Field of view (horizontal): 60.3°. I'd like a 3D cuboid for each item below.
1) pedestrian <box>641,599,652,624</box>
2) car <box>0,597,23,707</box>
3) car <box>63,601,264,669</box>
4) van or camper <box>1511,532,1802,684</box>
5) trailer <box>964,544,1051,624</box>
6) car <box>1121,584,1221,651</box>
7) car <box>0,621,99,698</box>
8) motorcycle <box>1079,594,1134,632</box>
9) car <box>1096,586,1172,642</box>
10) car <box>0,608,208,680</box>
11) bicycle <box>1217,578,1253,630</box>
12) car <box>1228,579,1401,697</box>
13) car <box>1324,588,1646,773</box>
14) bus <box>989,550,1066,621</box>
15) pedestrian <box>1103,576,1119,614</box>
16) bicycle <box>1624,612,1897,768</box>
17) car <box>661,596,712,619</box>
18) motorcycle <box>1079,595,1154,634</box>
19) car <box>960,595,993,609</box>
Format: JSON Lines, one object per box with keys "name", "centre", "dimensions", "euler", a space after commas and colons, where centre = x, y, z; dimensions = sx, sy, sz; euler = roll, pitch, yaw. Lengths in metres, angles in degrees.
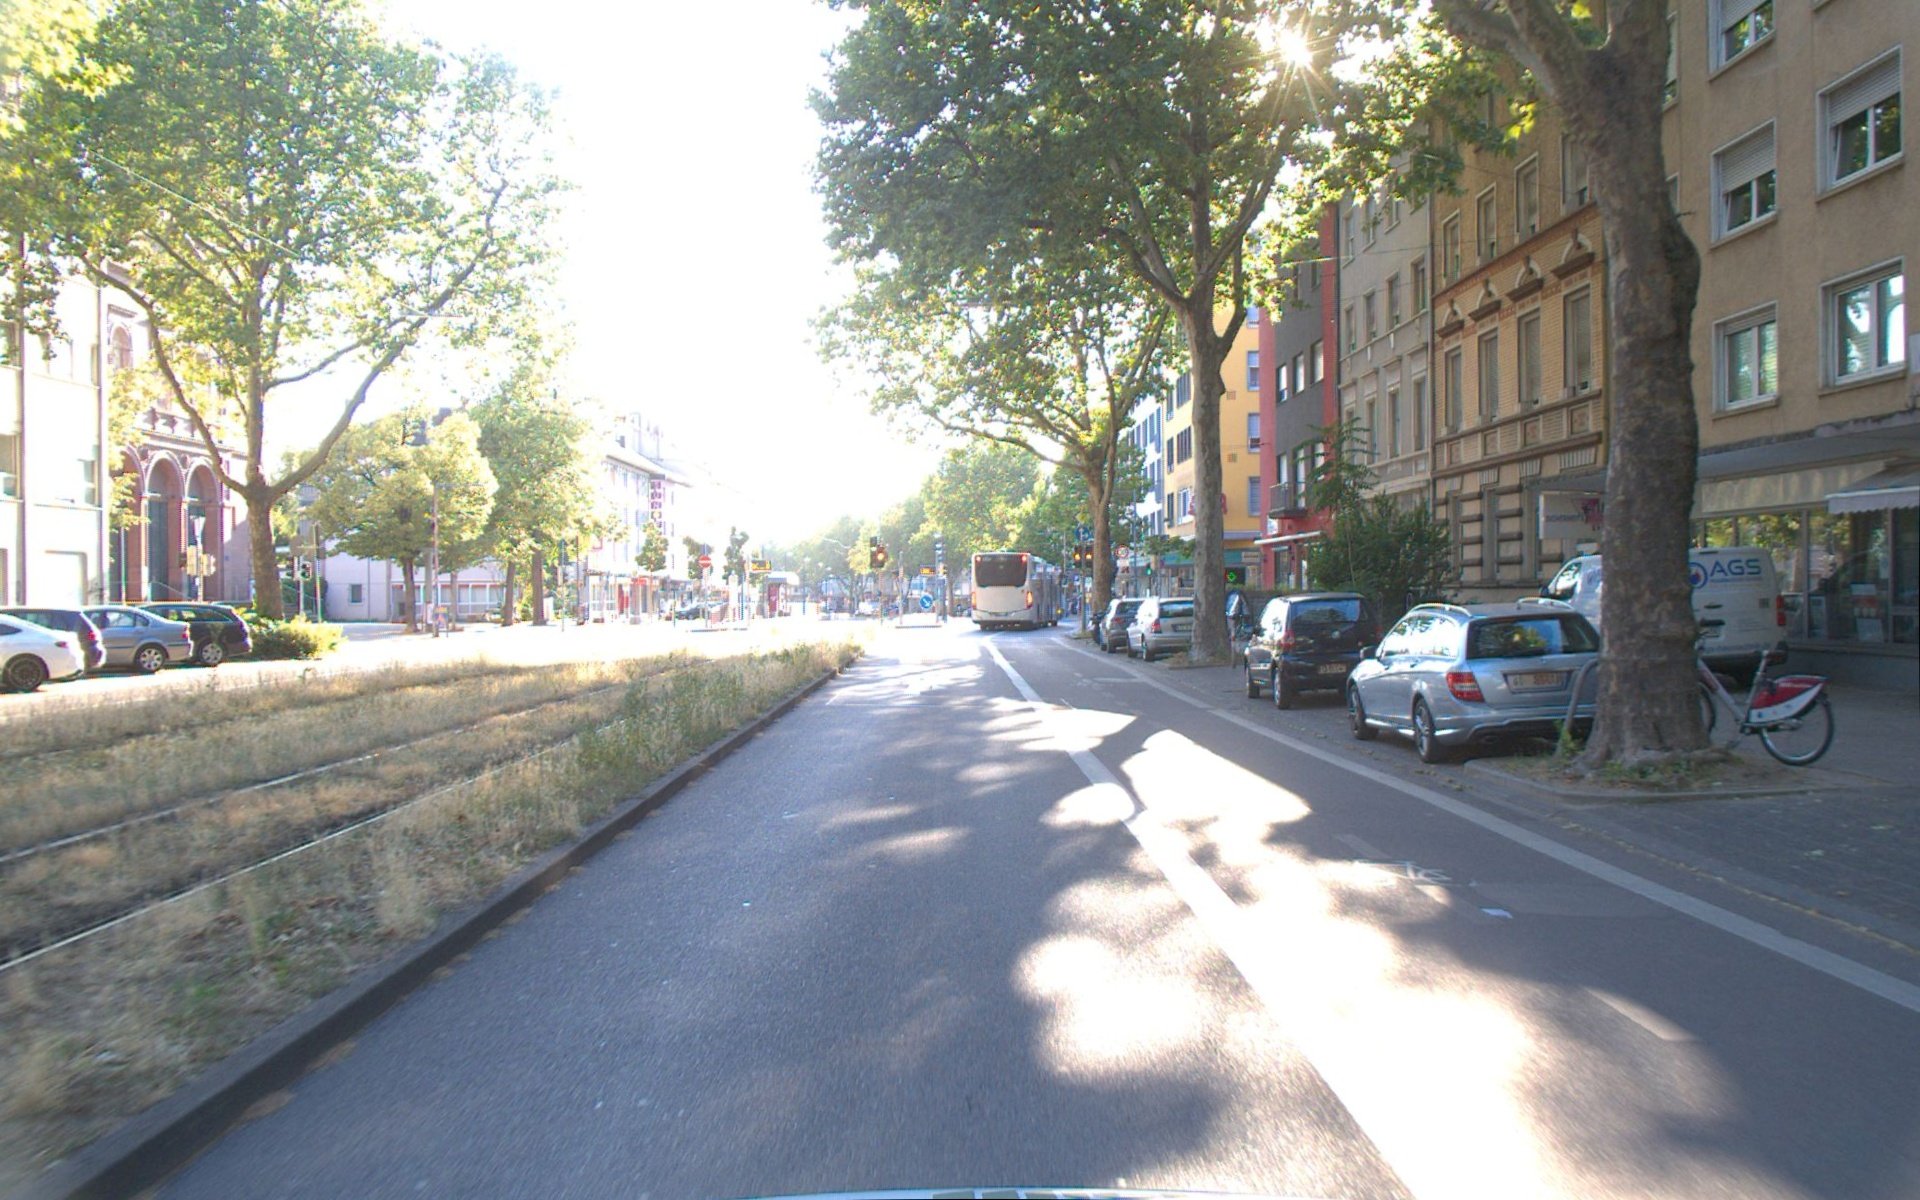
{"name": "pedestrian", "centre": [-26.273, 0.996, 138.718], "dimensions": [0.694, 2.049, 0.948], "euler": [2, -1, -1]}
{"name": "car", "centre": [-18.025, 0.969, 27.254], "dimensions": [4.298, 1.817, 1.977], "euler": [-3, 0, -27]}
{"name": "car", "centre": [-18.933, 0.816, 39.427], "dimensions": [3.968, 1.505, 1.789], "euler": [1, 0, -43]}
{"name": "van or camper", "centre": [10.056, 0.074, 24.424], "dimensions": [1.902, 1.956, 5.390], "euler": [-1, 1, -1]}
{"name": "trailer", "centre": [2.139, -0.641, 70.656], "dimensions": [2.752, 3.164, 8.801], "euler": [1, 0, 8]}
{"name": "car", "centre": [4.960, 0.382, 39.391], "dimensions": [1.640, 1.477, 4.569], "euler": [-1, 0, -2]}
{"name": "car", "centre": [-18.308, 1.081, 30.449], "dimensions": [4.160, 1.356, 1.700], "euler": [1, 0, -37]}
{"name": "motorcycle", "centre": [4.728, 0.418, 53.177], "dimensions": [1.982, 1.172, 0.592], "euler": [-1, 1, -43]}
{"name": "car", "centre": [4.750, 0.353, 45.655], "dimensions": [1.675, 1.421, 4.322], "euler": [-1, 1, 1]}
{"name": "car", "centre": [-18.861, 0.948, 36.311], "dimensions": [3.965, 1.466, 1.696], "euler": [1, 0, -42]}
{"name": "bicycle", "centre": [7.892, 0.099, 47.527], "dimensions": [0.594, 1.451, 2.396], "euler": [1, 0, 0]}
{"name": "car", "centre": [5.167, 0.504, 24.599], "dimensions": [1.620, 1.572, 3.999], "euler": [-1, 1, -1]}
{"name": "car", "centre": [5.121, 0.687, 16.844], "dimensions": [1.660, 1.569, 4.776], "euler": [-1, 1, -1]}
{"name": "bus", "centre": [3.366, -0.661, 79.511], "dimensions": [2.752, 3.155, 9.101], "euler": [1, 0, 8]}
{"name": "pedestrian", "centre": [7.230, -0.240, 79.016], "dimensions": [0.666, 1.801, 0.687], "euler": [-1, 0, 1]}
{"name": "bicycle", "centre": [6.557, 0.701, 13.688], "dimensions": [0.758, 1.150, 2.069], "euler": [1, 0, -21]}
{"name": "car", "centre": [-23.317, 0.646, 141.144], "dimensions": [3.939, 1.847, 1.983], "euler": [-1, 0, -27]}
{"name": "motorcycle", "centre": [4.825, 0.451, 51.002], "dimensions": [2.176, 1.081, 0.762], "euler": [-3, 1, -23]}
{"name": "car", "centre": [2.128, 0.243, 213.229], "dimensions": [3.846, 1.729, 1.816], "euler": [-1, 0, -29]}
